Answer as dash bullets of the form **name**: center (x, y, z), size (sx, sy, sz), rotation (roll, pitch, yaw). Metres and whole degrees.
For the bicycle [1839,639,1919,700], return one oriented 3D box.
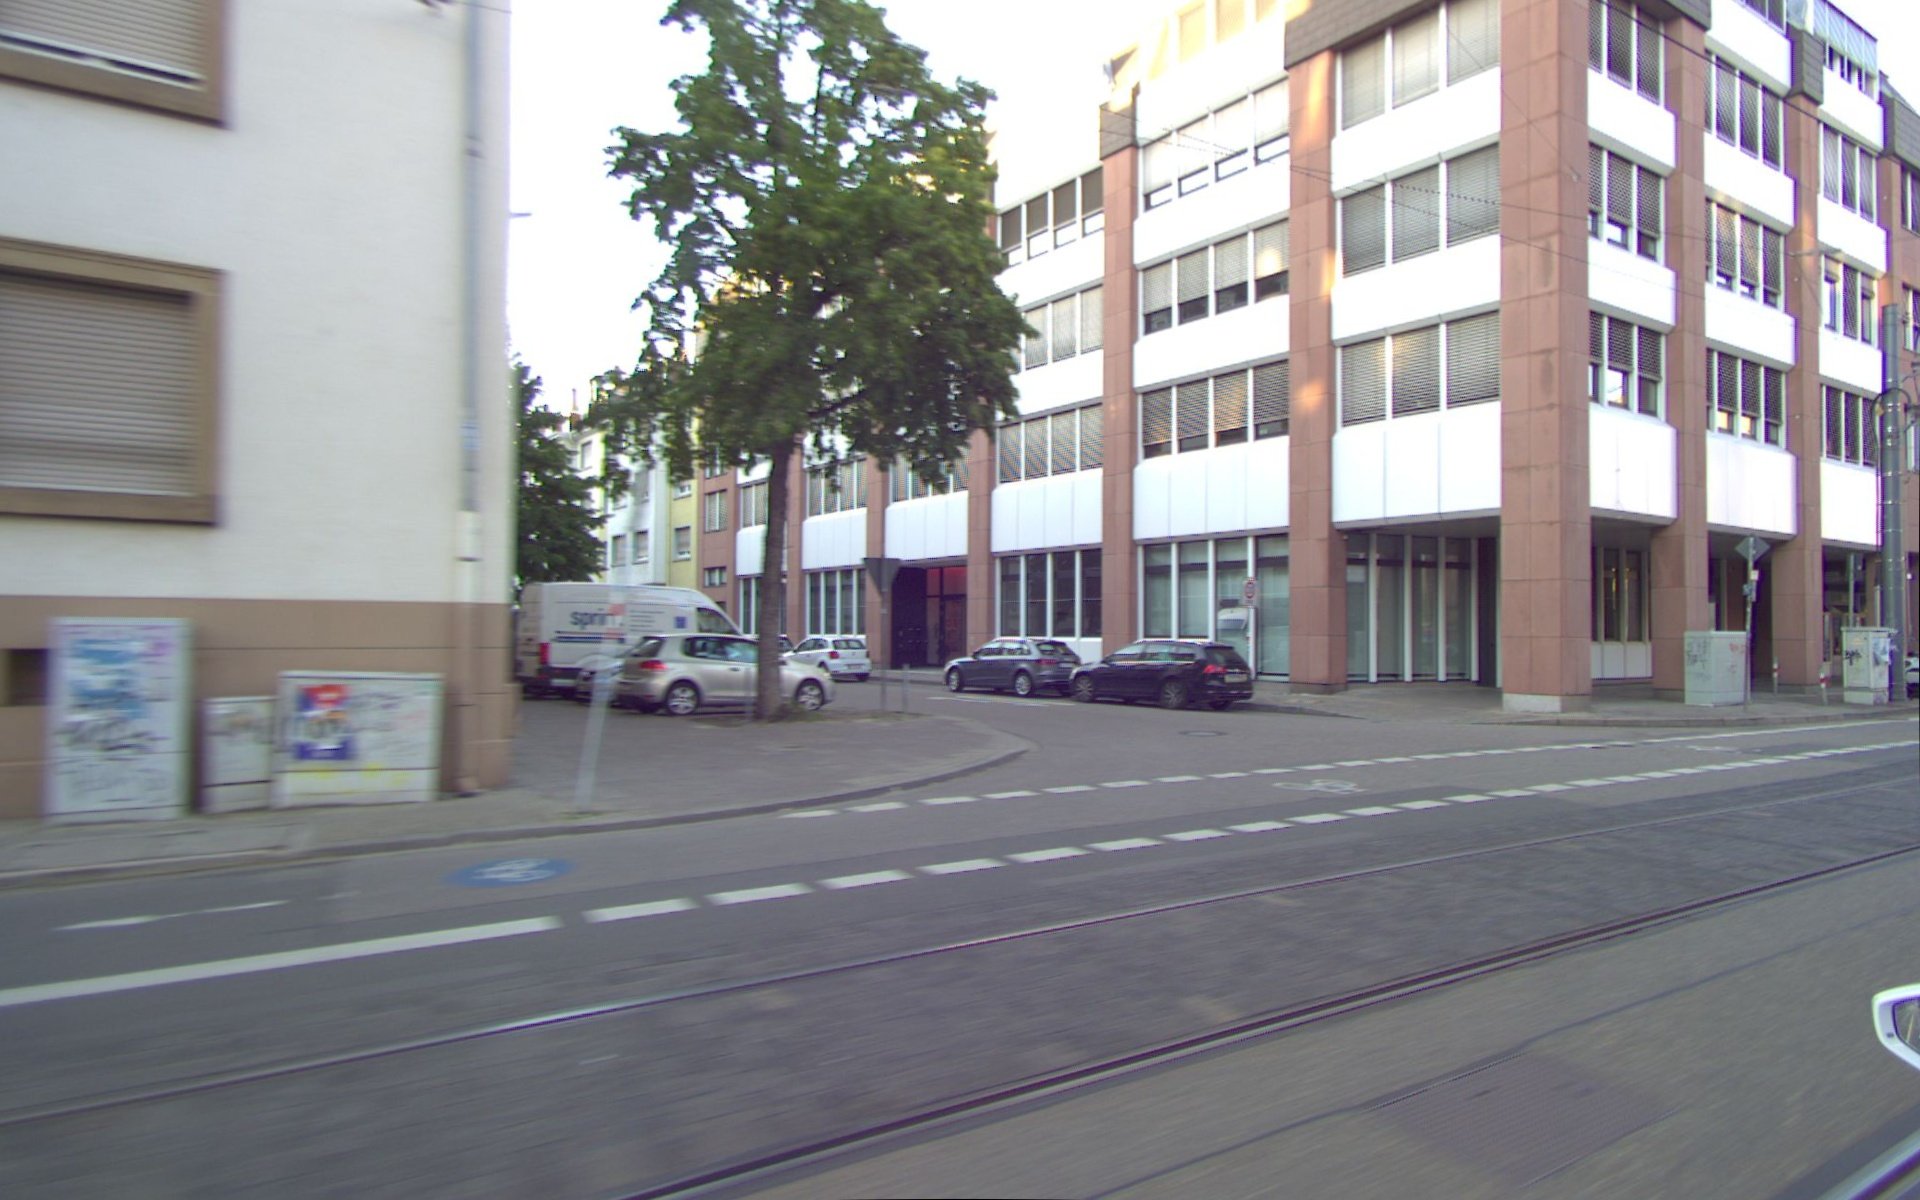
- **bicycle**: center (21.862, 1.624, 23.813), size (2.226, 1.396, 0.607), rotation (1, -2, -23)

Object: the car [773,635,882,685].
- **car**: center (-4.425, 1.930, 33.170), size (1.906, 1.524, 3.958), rotation (2, -3, -37)

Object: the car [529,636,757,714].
- **car**: center (-6.460, 1.479, 20.696), size (4.143, 1.441, 1.776), rotation (2, -2, -39)

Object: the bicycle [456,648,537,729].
- **bicycle**: center (-7.527, 1.397, 16.282), size (1.660, 1.229, 0.601), rotation (-2, -3, 43)

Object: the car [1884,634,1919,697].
- **car**: center (25.974, 1.705, 26.127), size (4.154, 1.576, 1.709), rotation (2, -1, -30)

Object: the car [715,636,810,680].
- **car**: center (-7.338, 2.102, 37.103), size (1.906, 1.524, 3.958), rotation (2, -3, -37)

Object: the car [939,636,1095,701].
- **car**: center (1.399, 1.729, 25.998), size (1.906, 1.524, 3.958), rotation (4, -4, -37)

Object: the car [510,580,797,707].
- **car**: center (-6.995, 0.999, 23.437), size (6.080, 2.623, 2.074), rotation (2, -2, -39)

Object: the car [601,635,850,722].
- **car**: center (-4.348, 1.397, 18.927), size (4.143, 1.441, 1.978), rotation (2, -2, -39)

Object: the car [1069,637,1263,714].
- **car**: center (4.459, 1.611, 22.214), size (1.906, 1.524, 3.958), rotation (4, -4, -37)
